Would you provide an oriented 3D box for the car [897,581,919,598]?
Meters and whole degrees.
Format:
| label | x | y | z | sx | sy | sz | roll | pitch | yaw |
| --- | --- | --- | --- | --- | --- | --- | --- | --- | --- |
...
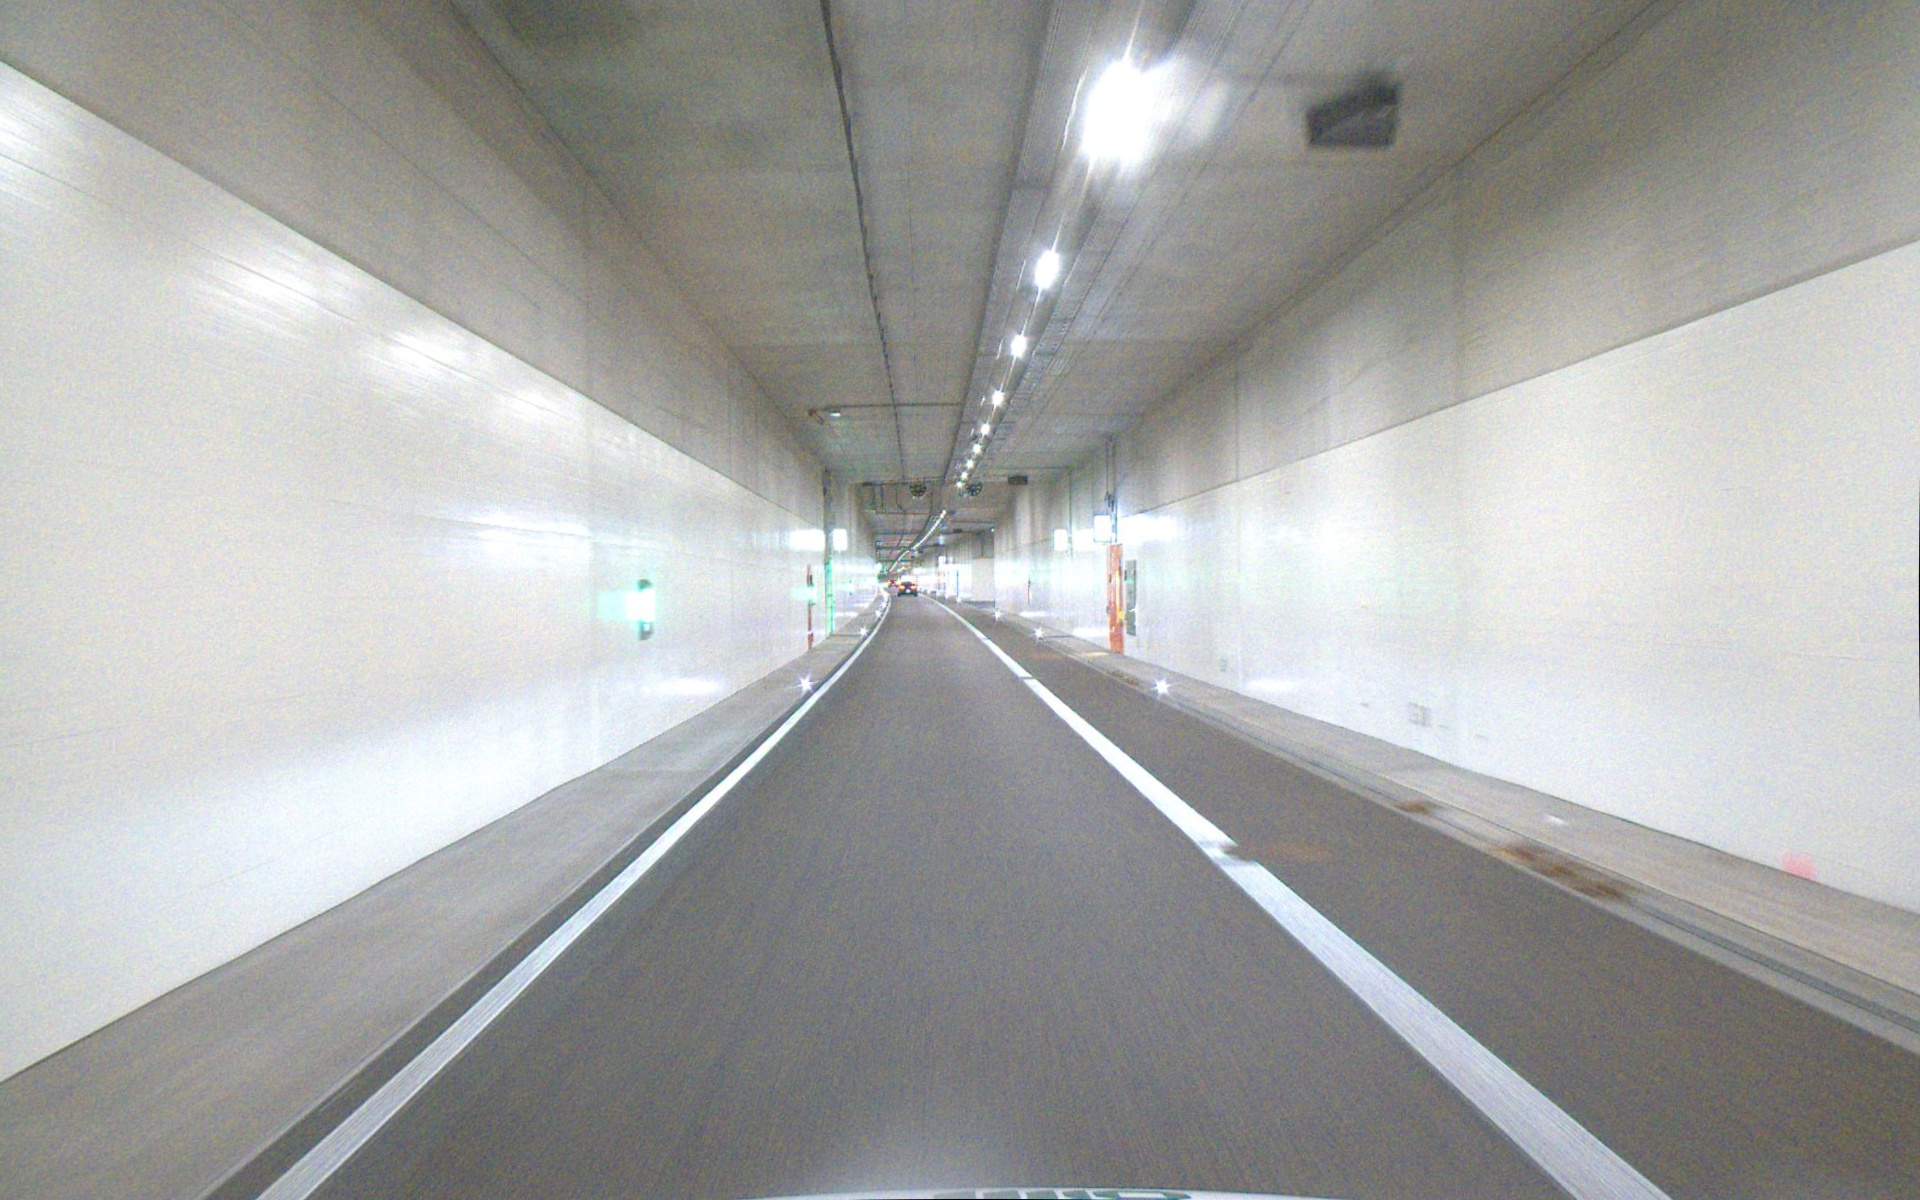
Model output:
| label | x | y | z | sx | sy | sz | roll | pitch | yaw |
| --- | --- | --- | --- | --- | --- | --- | --- | --- | --- |
| car | -4.916 | -0.988 | 155.016 | 1.954 | 1.445 | 3.998 | -2 | 1 | -3 |
